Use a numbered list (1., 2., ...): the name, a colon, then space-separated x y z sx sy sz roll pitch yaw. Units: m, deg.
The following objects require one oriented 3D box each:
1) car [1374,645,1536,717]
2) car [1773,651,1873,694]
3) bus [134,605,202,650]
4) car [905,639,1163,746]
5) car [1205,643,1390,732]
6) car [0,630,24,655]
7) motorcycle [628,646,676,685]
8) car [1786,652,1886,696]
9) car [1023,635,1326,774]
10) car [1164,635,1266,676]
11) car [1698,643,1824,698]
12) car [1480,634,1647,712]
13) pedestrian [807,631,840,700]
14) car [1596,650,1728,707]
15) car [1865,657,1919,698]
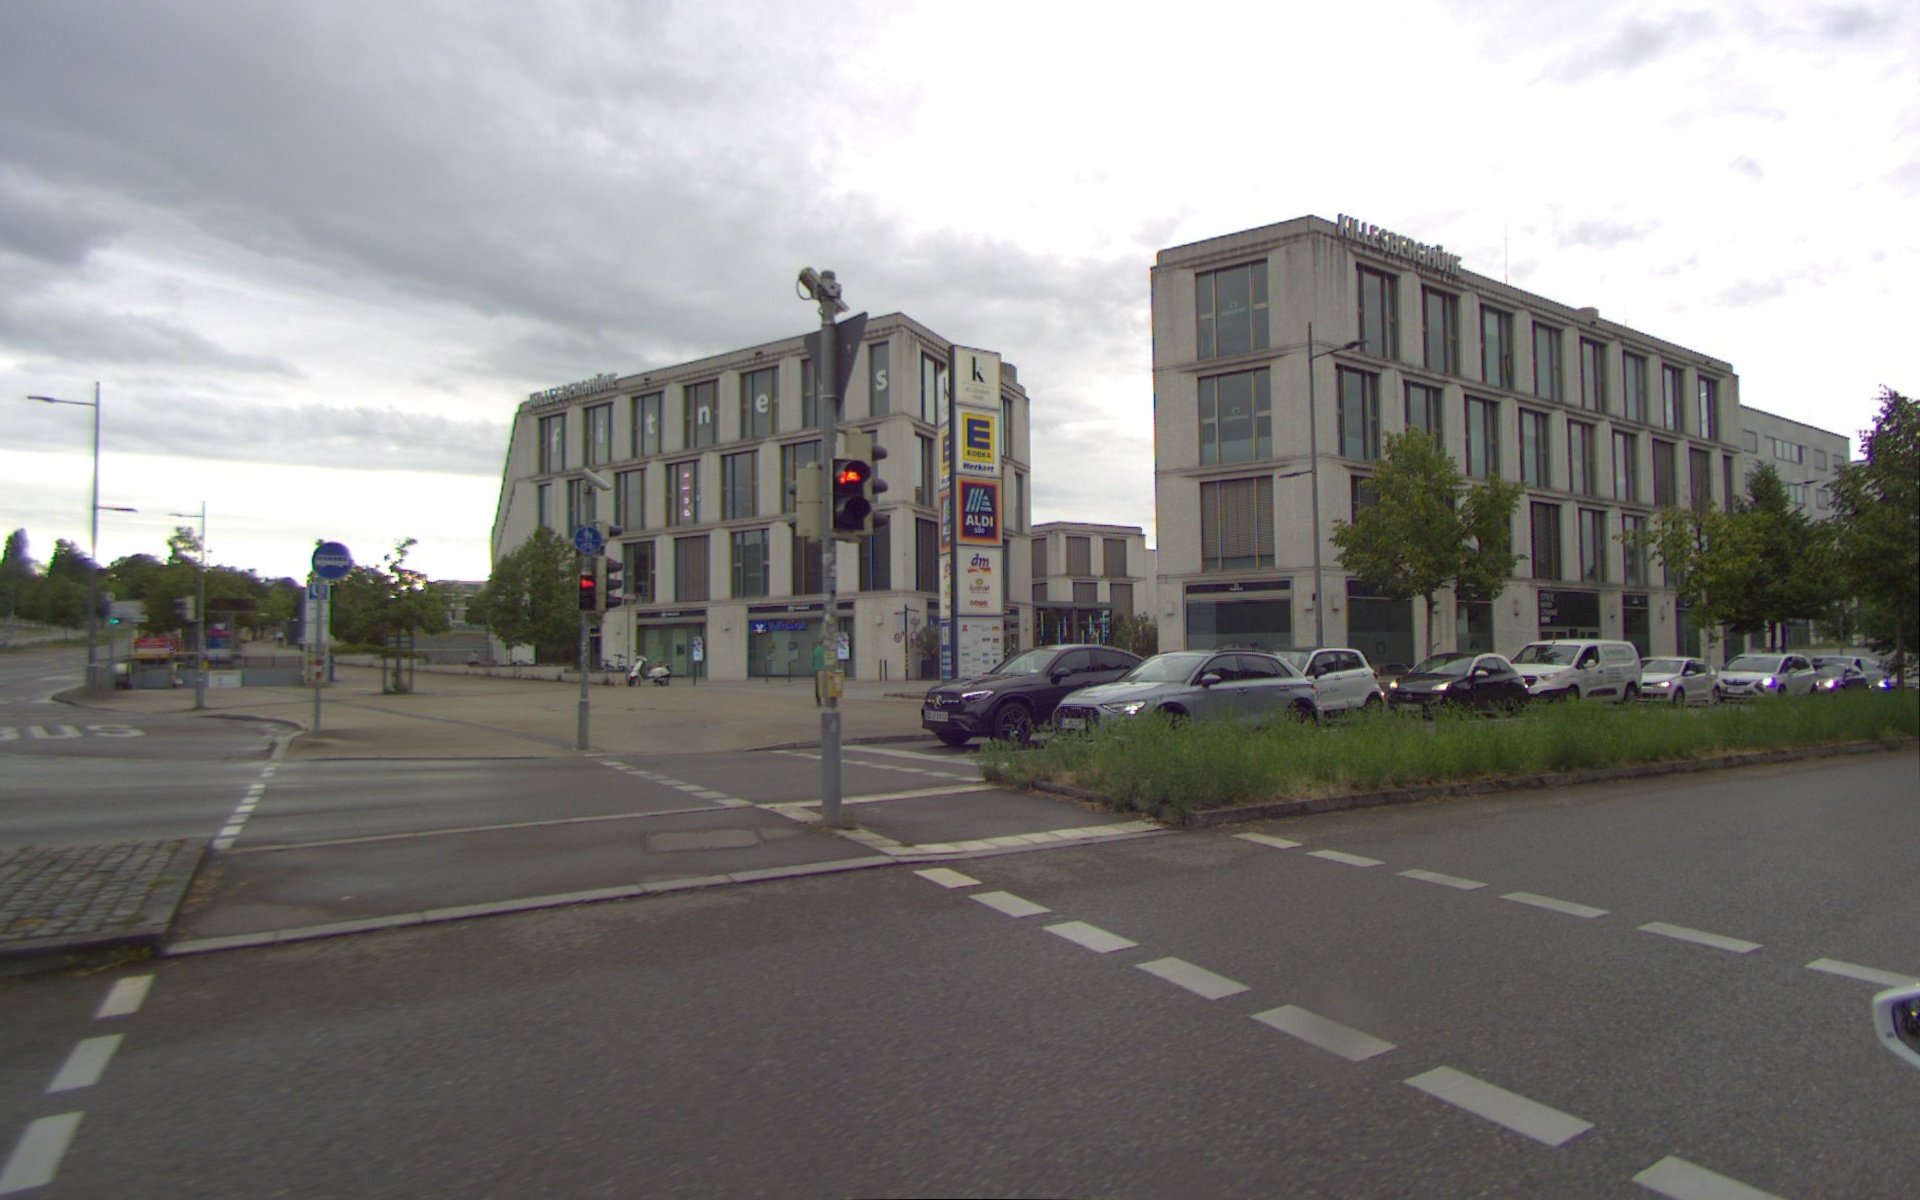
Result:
1. car: 11.445 1.824 23.175 3.710 1.479 1.705 1 -4 -34
2. car: 31.227 2.588 36.323 3.953 1.429 1.632 1 -4 -33
3. bus: -56.543 2.030 71.954 2.851 3.028 9.916 1 -3 -33
4. car: 1.279 1.473 16.730 4.022 1.539 1.815 1 -4 -34
5. car: 6.865 1.718 20.347 3.663 1.597 1.641 1 -4 -34
6. car: -80.427 3.576 84.534 1.981 2.040 3.959 0 -2 -36
7. motorcycle: -11.894 2.513 38.813 1.741 1.421 0.522 1 -2 -40
8. car: 39.132 3.303 44.854 5.207 1.839 2.109 4 -4 -34
9. car: 3.064 1.327 14.069 4.121 1.596 1.837 0 -1 -34
10. car: 9.134 1.973 36.048 3.239 1.394 1.564 -1 -2 32
11. car: 26.351 2.285 33.004 4.623 1.621 1.819 1 -4 -33
12. car: 15.703 1.812 26.067 4.721 1.826 1.833 1 -1 -33
13. pedestrian: -3.455 1.656 25.466 0.737 1.708 0.681 0 -2 -2
14. car: 20.553 2.261 29.369 4.016 1.486 1.734 1 -4 -33
15. car: 39.395 3.171 41.755 3.975 1.602 1.685 2 -3 -34
